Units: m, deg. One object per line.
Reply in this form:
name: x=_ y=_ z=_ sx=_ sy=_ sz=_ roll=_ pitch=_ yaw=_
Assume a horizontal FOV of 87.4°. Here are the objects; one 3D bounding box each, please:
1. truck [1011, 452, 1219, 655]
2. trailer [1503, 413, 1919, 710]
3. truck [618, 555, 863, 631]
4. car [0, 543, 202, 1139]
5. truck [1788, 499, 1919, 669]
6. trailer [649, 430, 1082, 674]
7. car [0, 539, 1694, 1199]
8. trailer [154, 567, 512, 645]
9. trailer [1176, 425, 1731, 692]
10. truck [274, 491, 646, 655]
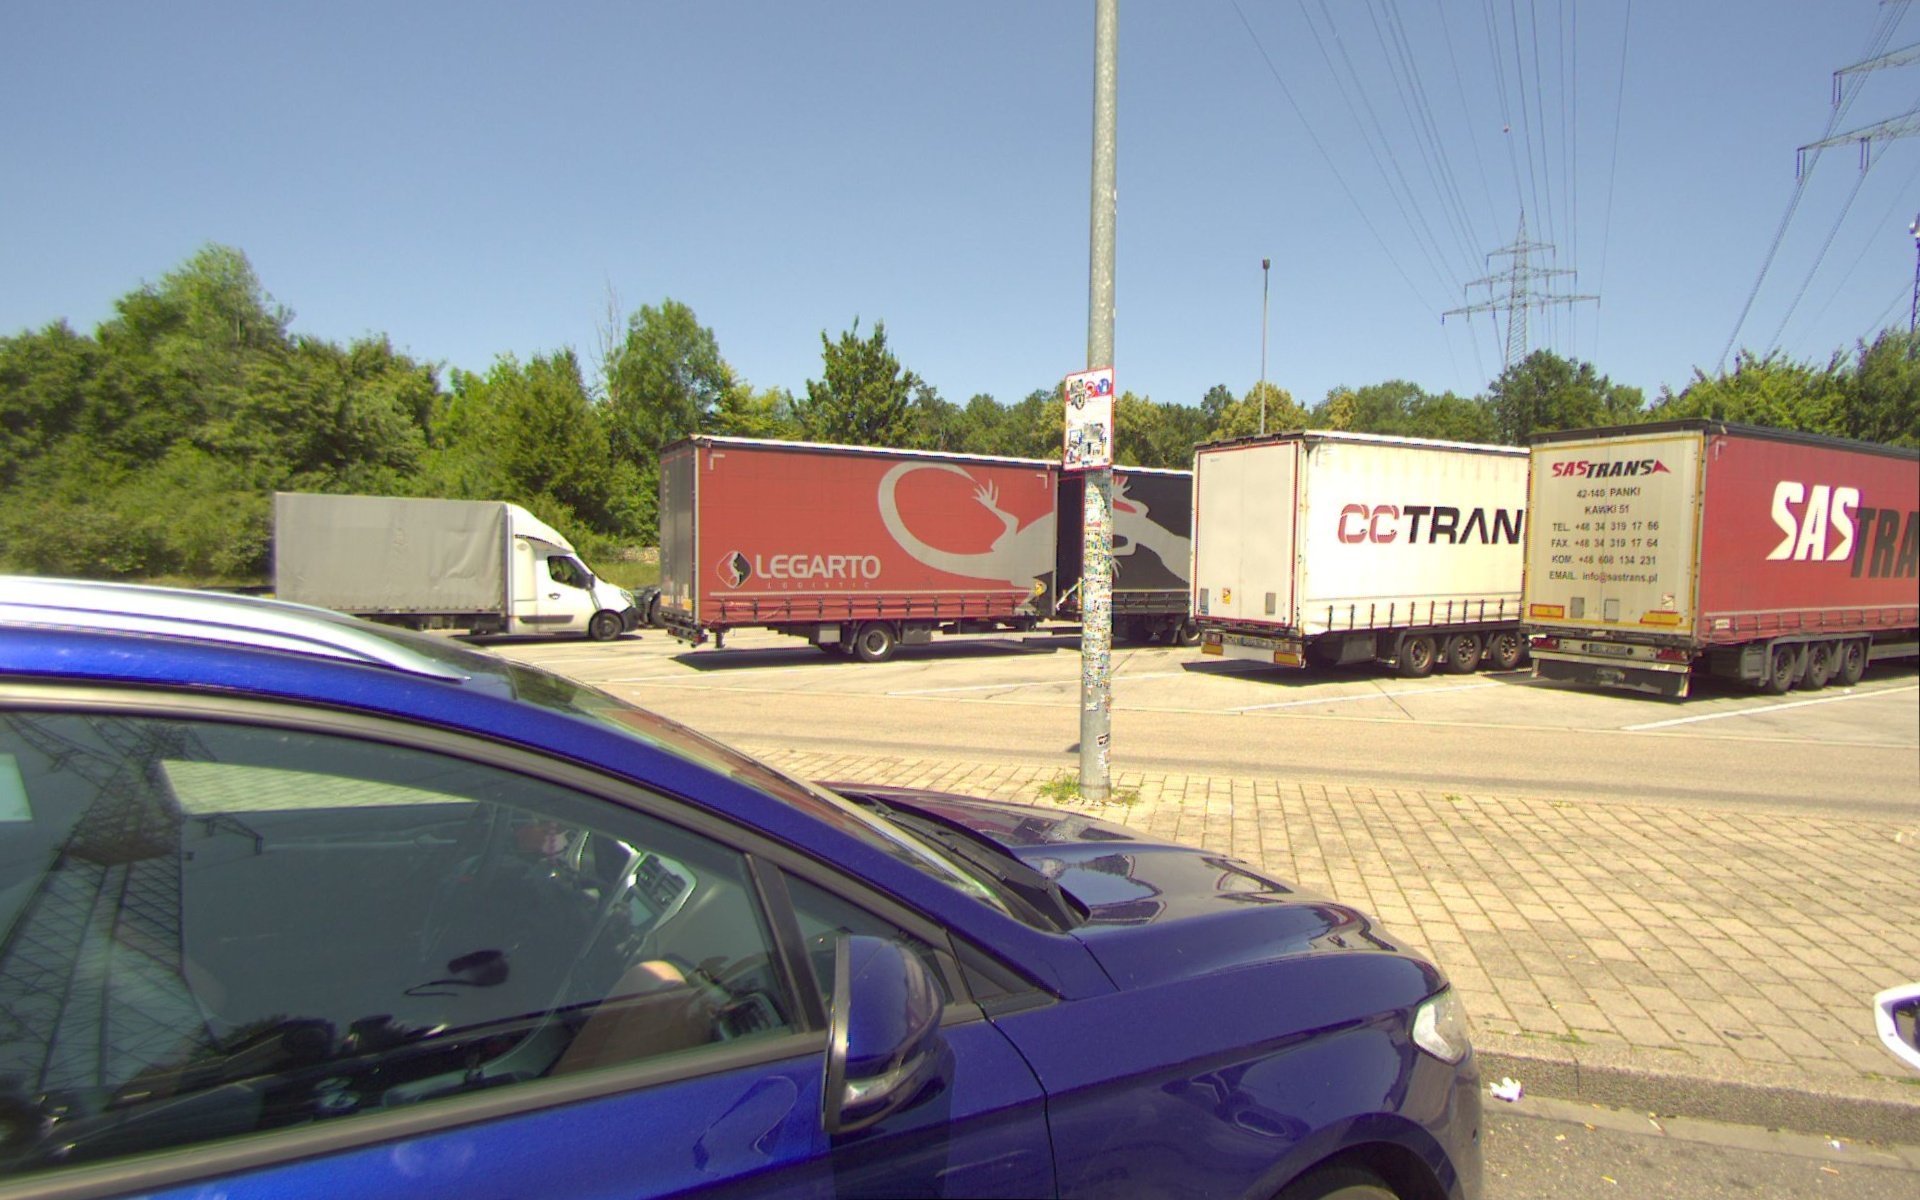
truck: x=3.593 y=-1.065 z=23.462 sx=3.947 sy=4.298 sz=2.723 roll=-1 pitch=3 yaw=-30
trailer: x=15.630 y=-0.691 z=18.738 sx=13.962 sy=4.141 sz=2.777 roll=-1 pitch=3 yaw=-30
truck: x=-6.324 y=-0.230 z=29.287 sx=6.733 sy=2.041 sz=1.987 roll=-1 pitch=1 yaw=-26
car: x=-4.589 y=0.602 z=2.239 sx=4.444 sy=1.520 sz=1.762 roll=0 pitch=2 yaw=-32
truck: x=21.232 y=-0.392 z=22.015 sx=5.829 sy=3.373 sz=2.837 roll=-1 pitch=3 yaw=-30
trailer: x=-1.720 y=-0.900 z=20.341 sx=8.376 sy=4.141 sz=2.722 roll=-1 pitch=3 yaw=-30
car: x=-1.013 y=0.680 z=1.506 sx=4.444 sy=1.511 sz=1.859 roll=0 pitch=2 yaw=-32
trailer: x=-15.141 y=0.056 z=24.907 sx=7.204 sy=1.711 sz=2.249 roll=-1 pitch=3 yaw=-29
trailer: x=10.610 y=-0.799 z=20.349 sx=13.962 sy=4.141 sz=2.782 roll=-1 pitch=3 yaw=-30
truck: x=-11.166 y=-0.624 z=23.037 sx=7.204 sy=3.279 sz=2.727 roll=-1 pitch=3 yaw=-29
